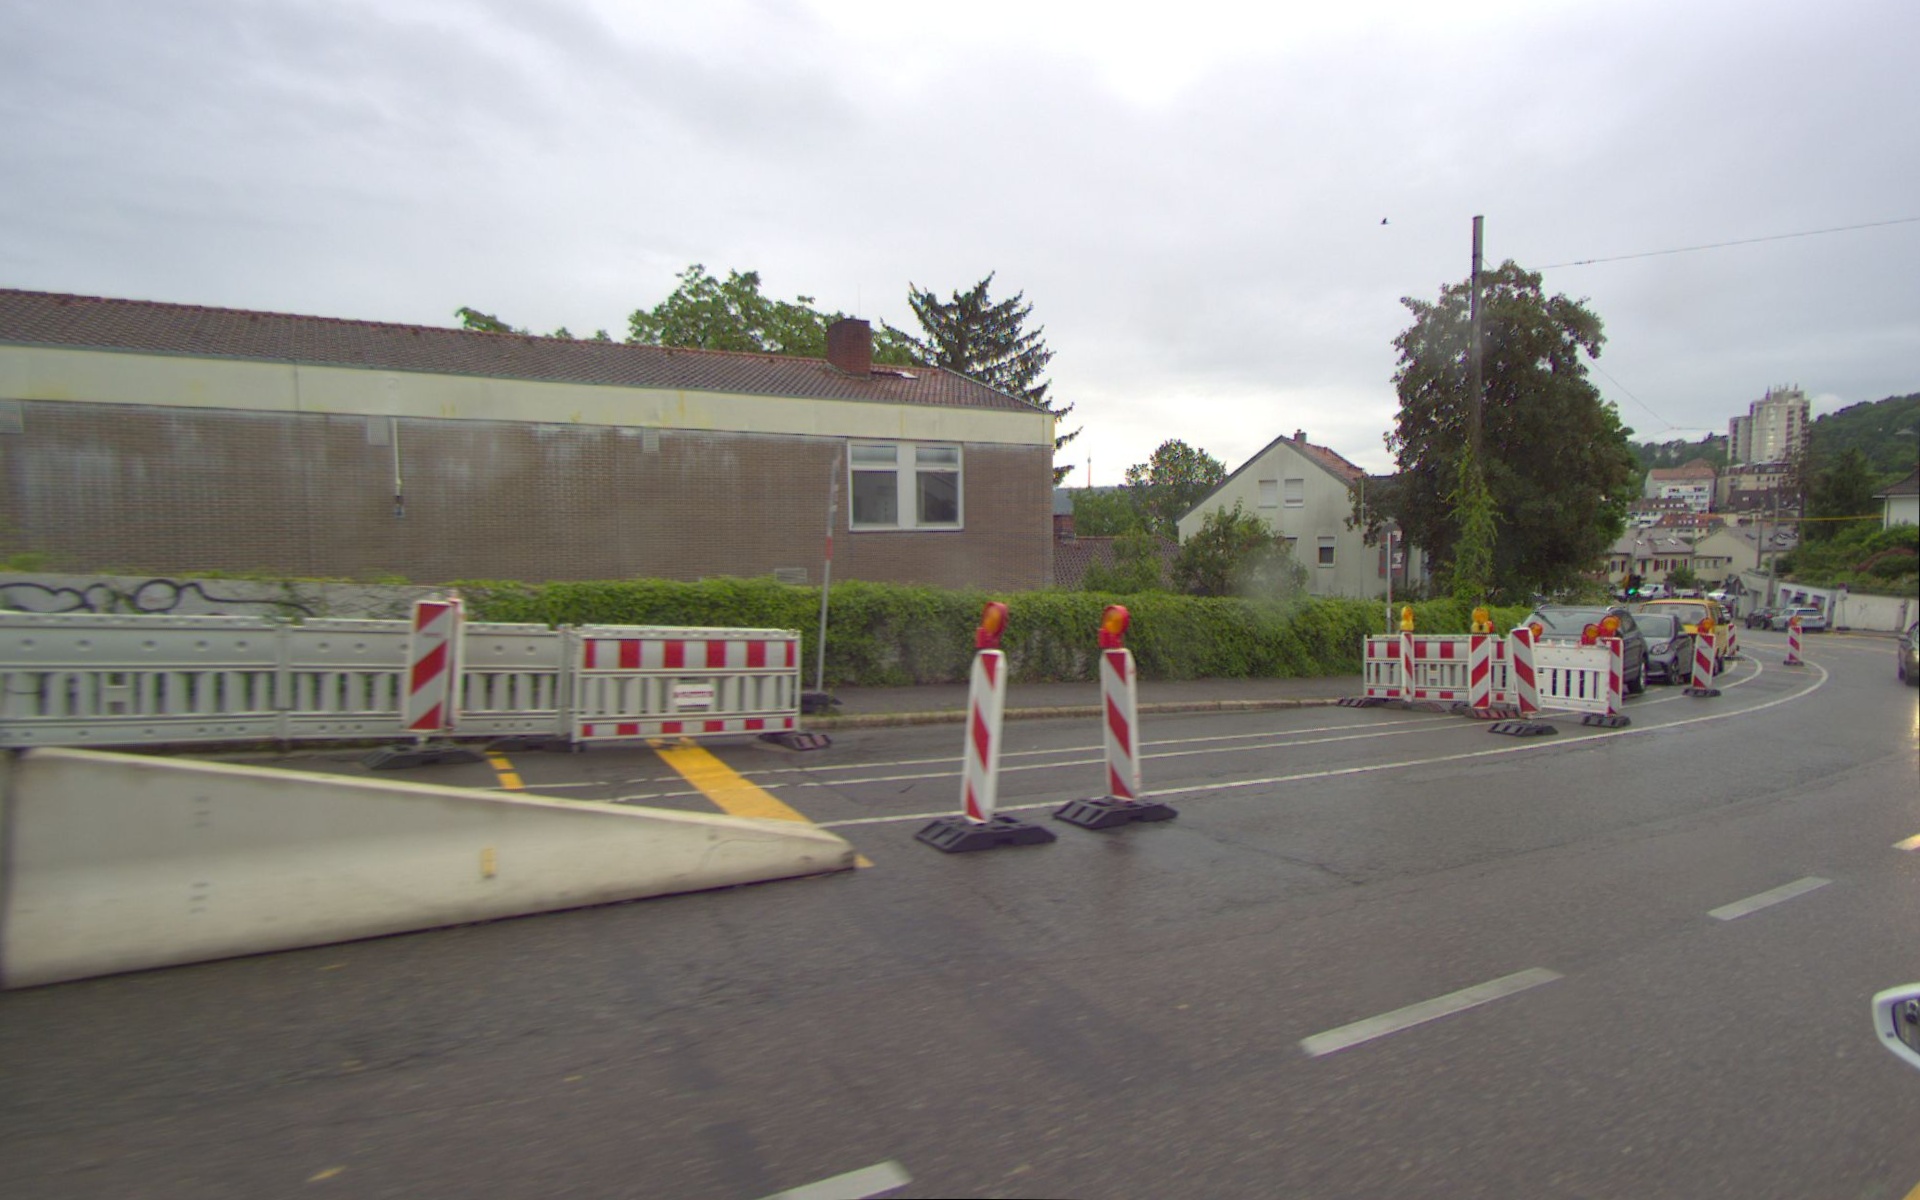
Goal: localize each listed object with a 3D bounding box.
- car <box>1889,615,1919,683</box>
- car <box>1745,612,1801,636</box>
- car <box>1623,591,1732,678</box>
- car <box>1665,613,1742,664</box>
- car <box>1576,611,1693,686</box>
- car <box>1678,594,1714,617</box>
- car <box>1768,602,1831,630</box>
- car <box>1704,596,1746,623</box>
[{"bbox_3d":[22.928,1.142,22.980,3.968,1.483,1.976,1,1,-41],"label":"car"},{"bbox_3d":[53.182,1.537,65.793,1.963,1.394,3.995,3,1,26],"label":"car"},{"bbox_3d":[19.338,0.861,26.970,1.970,2.041,5.118,3,1,39],"label":"car"},{"bbox_3d":[24.613,1.228,33.196,1.824,1.483,3.750,3,1,39],"label":"car"},{"bbox_3d":[15.397,1.033,22.861,1.824,1.483,3.750,3,1,39],"label":"car"},{"bbox_3d":[64.781,0.441,88.499,1.964,1.707,3.992,0,4,28],"label":"car"},{"bbox_3d":[50.859,0.948,60.940,1.963,1.595,3.995,3,1,26],"label":"car"},{"bbox_3d":[59.368,0.704,77.999,1.964,1.707,3.992,0,4,28],"label":"car"}]
